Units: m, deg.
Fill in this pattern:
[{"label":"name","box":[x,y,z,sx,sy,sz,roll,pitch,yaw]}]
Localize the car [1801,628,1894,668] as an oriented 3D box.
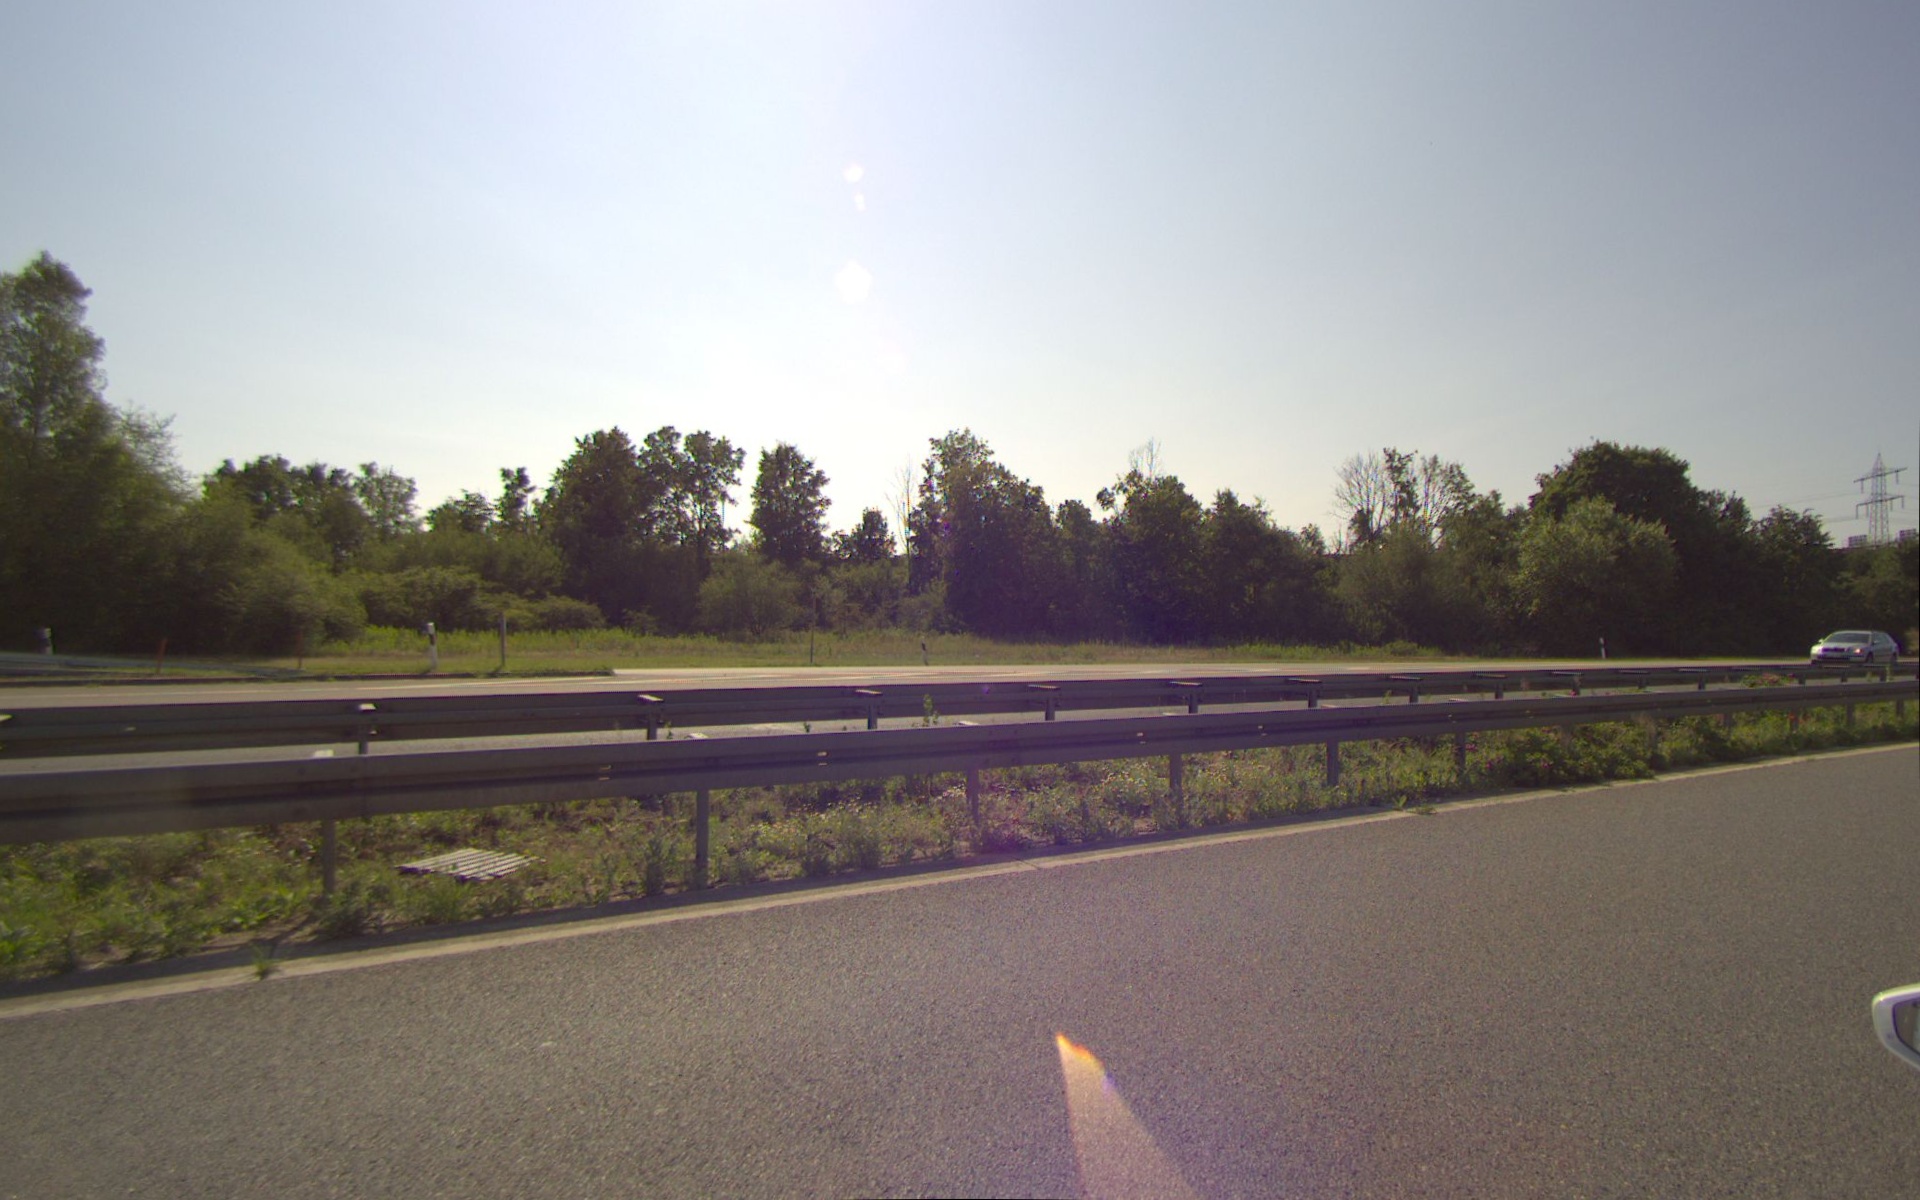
[{"label":"car","box":[34.672,1.846,39.220,3.719,1.428,1.666,1,1,-31]}]
